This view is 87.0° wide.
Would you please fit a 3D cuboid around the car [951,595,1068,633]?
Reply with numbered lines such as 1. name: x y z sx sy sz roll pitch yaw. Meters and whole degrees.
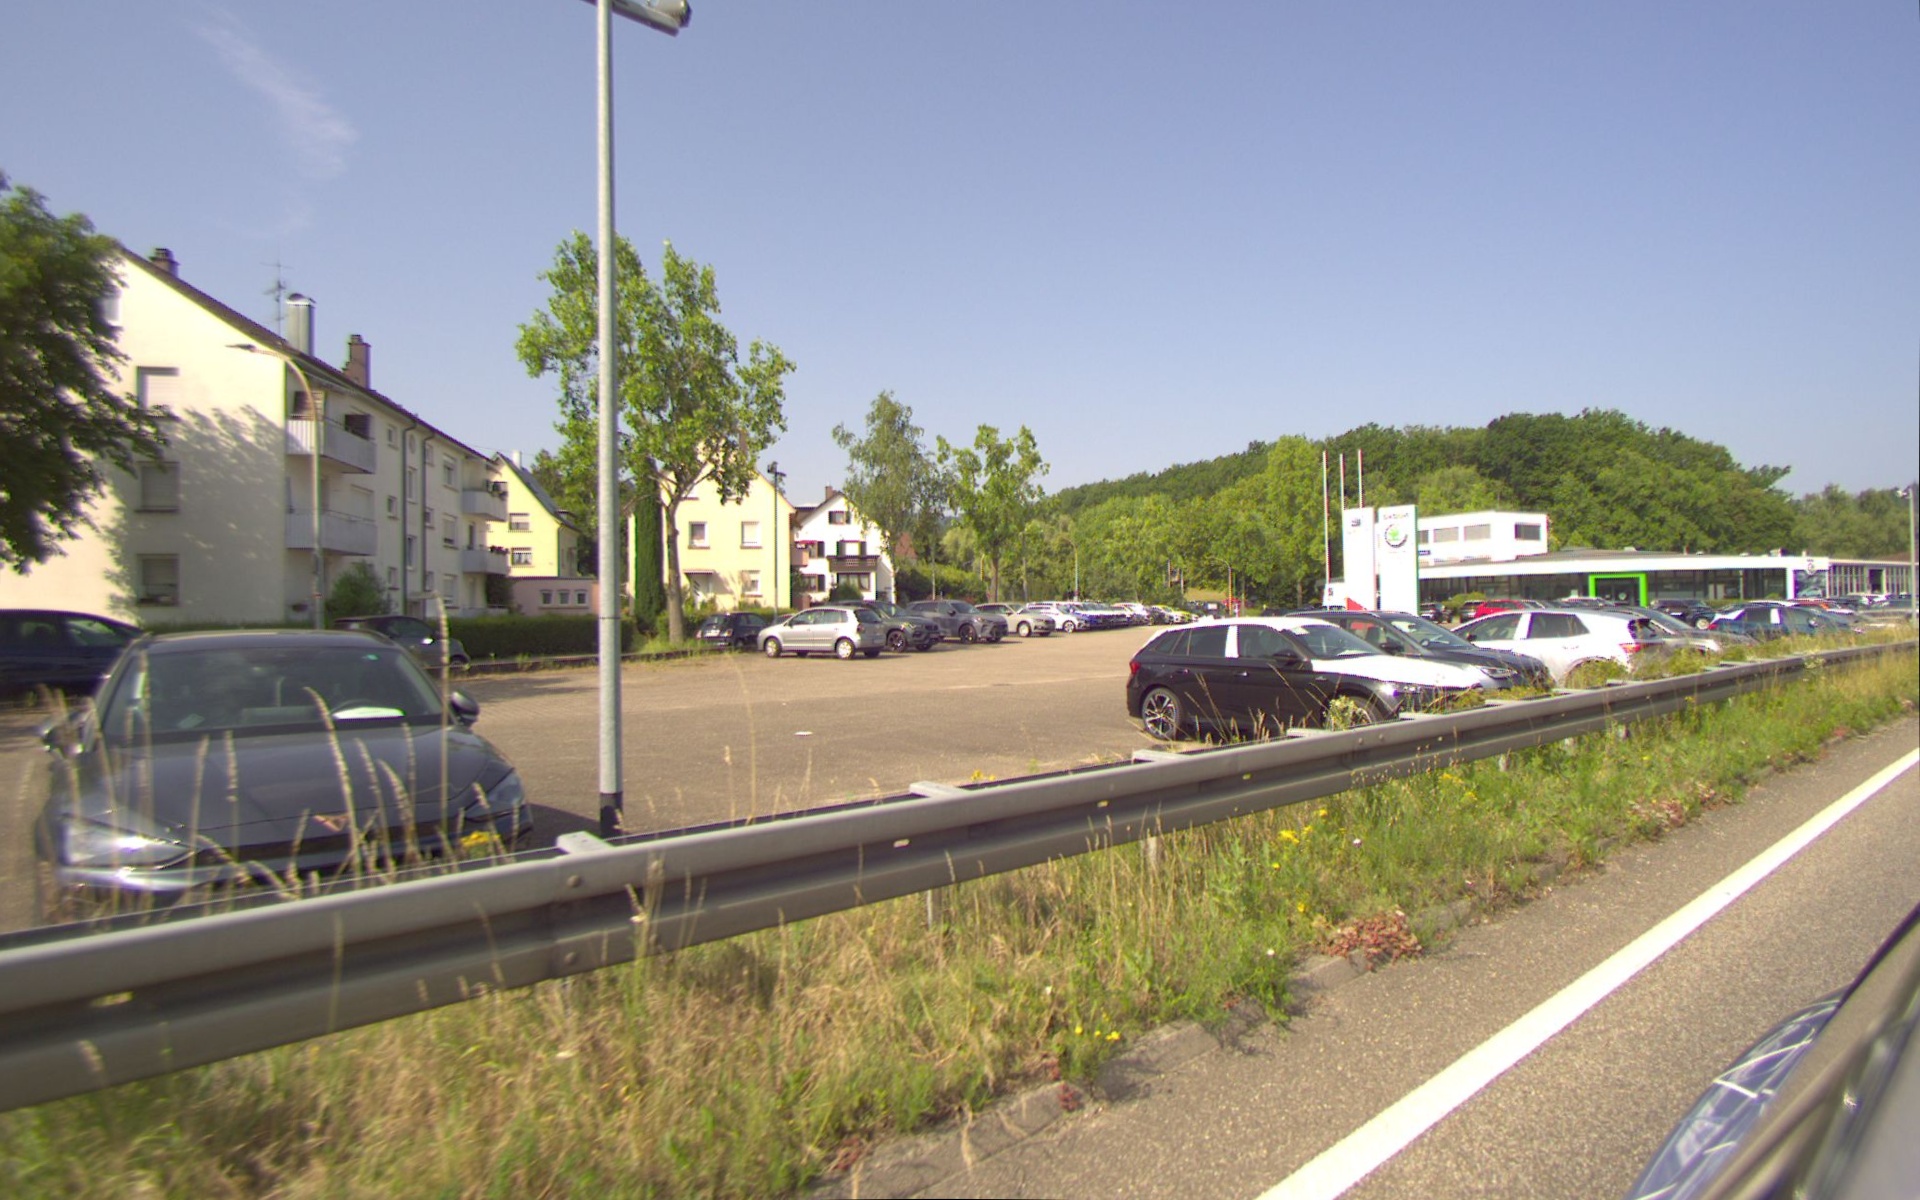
1. car: 2.079 0.576 43.296 4.731 1.541 1.971 0 0 36

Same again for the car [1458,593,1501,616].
1. car: 37.354 0.287 72.693 1.992 1.565 4.548 1 1 37

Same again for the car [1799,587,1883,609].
1. car: 68.032 -0.200 78.256 1.753 1.584 4.731 0 1 -15

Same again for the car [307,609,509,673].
1. car: -11.884 0.831 22.003 1.578 1.201 3.628 0 0 27

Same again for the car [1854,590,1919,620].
1. car: 53.320 0.264 57.087 1.759 1.630 4.089 -1 0 -36

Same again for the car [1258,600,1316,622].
1. car: 25.544 0.865 79.020 4.374 1.565 1.841 -1 1 -31

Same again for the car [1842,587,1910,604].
1. car: 83.958 -0.420 92.772 1.755 1.483 4.328 -1 1 -31

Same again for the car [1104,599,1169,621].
1. car: 13.795 0.775 79.065 4.716 1.565 1.756 1 1 33

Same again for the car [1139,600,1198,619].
1. car: 17.803 0.797 86.405 4.731 1.565 1.751 1 1 41

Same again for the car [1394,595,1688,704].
1. car: 9.724 0.733 17.163 1.748 1.600 3.992 -1 0 -42

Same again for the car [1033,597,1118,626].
1. car: 6.857 0.680 60.147 4.703 1.608 1.915 0 1 26

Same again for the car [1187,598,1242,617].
1. car: 23.158 0.669 92.164 1.746 1.565 4.742 -1 1 -42

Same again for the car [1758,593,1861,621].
1. car: 46.421 0.366 55.362 1.790 1.464 4.000 -1 0 -34

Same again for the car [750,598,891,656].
1. car: -3.961 0.734 28.718 3.727 1.541 1.642 0 0 26

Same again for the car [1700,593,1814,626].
1. car: 39.870 0.427 50.705 1.791 1.535 4.167 -1 1 -38

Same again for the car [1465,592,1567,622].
1. car: 31.611 0.349 57.664 1.894 1.584 4.755 -1 1 -32

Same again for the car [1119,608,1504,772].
1. car: 3.896 0.876 11.795 1.667 1.541 3.997 1 0 -38

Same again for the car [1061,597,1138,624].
1. car: 9.301 0.663 67.484 4.708 1.654 1.913 0 1 28

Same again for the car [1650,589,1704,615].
1. car: 47.294 0.083 66.868 1.910 1.584 4.716 0 1 23

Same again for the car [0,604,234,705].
1. car: -14.521 0.820 16.112 1.896 1.423 4.483 0 0 27

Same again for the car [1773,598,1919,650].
1. car: 29.462 0.758 33.107 1.699 1.509 4.172 -1 2 -37

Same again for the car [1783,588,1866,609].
1. car: 65.518 -0.133 76.802 1.753 1.507 4.731 0 1 -12

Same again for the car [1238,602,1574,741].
1. car: 5.978 0.845 13.928 1.774 1.588 3.856 -1 0 -38

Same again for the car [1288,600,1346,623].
1. car: 27.042 0.851 76.674 4.376 1.565 1.841 -1 1 -33

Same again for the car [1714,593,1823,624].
1. car: 41.908 0.397 52.528 1.790 1.535 4.106 -1 0 -34

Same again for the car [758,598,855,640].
1. car: -5.919 0.689 39.395 1.770 1.493 3.951 0 0 27

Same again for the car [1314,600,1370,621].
1. car: 30.571 0.801 81.004 4.374 1.565 1.841 -1 1 -31

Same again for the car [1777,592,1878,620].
1. car: 48.744 0.311 56.932 1.807 1.505 4.000 -1 0 -34

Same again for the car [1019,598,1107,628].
1. car: 5.914 0.709 57.936 4.697 1.608 1.917 0 1 23

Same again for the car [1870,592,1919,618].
1. car: 55.475 0.279 58.439 1.756 1.513 4.002 -1 0 -33

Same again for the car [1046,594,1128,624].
1. car: 7.846 0.525 62.623 4.713 1.802 1.911 0 1 31

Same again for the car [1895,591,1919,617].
1. car: 57.783 0.250 59.388 1.696 1.513 4.003 -1 0 -31

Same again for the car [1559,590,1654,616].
1. car: 41.045 0.158 64.401 1.894 1.584 4.755 -1 1 -32

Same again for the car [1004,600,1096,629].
1. car: 4.899 0.754 55.335 4.697 1.477 1.917 0 1 23

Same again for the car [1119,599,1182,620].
1. car: 15.382 0.729 81.889 4.727 1.565 1.815 1 1 39

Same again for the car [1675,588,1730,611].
1. car: 55.327 -0.057 75.493 1.765 1.584 4.337 0 1 15

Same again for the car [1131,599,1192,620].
1. car: 16.703 0.771 84.144 4.728 1.565 1.752 1 1 39

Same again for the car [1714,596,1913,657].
1. car: 24.866 0.712 29.617 1.708 1.564 4.172 -1 2 -37

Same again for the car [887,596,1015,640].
1. car: -0.363 0.630 37.758 4.607 1.541 1.840 0 0 36

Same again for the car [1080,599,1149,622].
1. car: 11.369 0.728 74.428 4.711 1.565 1.758 0 1 30

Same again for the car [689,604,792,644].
1. car: -7.225 0.750 33.607 1.576 1.201 3.634 0 0 23

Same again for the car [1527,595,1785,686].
1. car: 14.165 0.741 20.780 1.853 1.660 3.997 -1 0 -38

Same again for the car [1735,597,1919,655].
1. car: 27.076 0.739 31.680 1.738 1.575 4.172 -1 2 -37

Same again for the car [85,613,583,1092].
1. car: -3.608 0.842 5.439 1.600 1.462 4.327 -1 0 -40

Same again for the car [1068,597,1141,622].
1. car: 9.986 0.644 70.106 4.710 1.654 1.912 0 1 30

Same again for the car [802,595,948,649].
1. car: -2.748 0.662 32.509 4.456 1.620 1.823 0 0 29

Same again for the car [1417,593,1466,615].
1. car: 35.481 0.263 74.535 1.996 1.565 4.540 1 1 42

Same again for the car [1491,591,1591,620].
1. car: 33.918 0.298 59.173 1.894 1.584 4.755 -1 1 -32

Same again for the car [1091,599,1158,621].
1. car: 12.463 0.724 76.744 4.713 1.565 1.757 0 1 31
